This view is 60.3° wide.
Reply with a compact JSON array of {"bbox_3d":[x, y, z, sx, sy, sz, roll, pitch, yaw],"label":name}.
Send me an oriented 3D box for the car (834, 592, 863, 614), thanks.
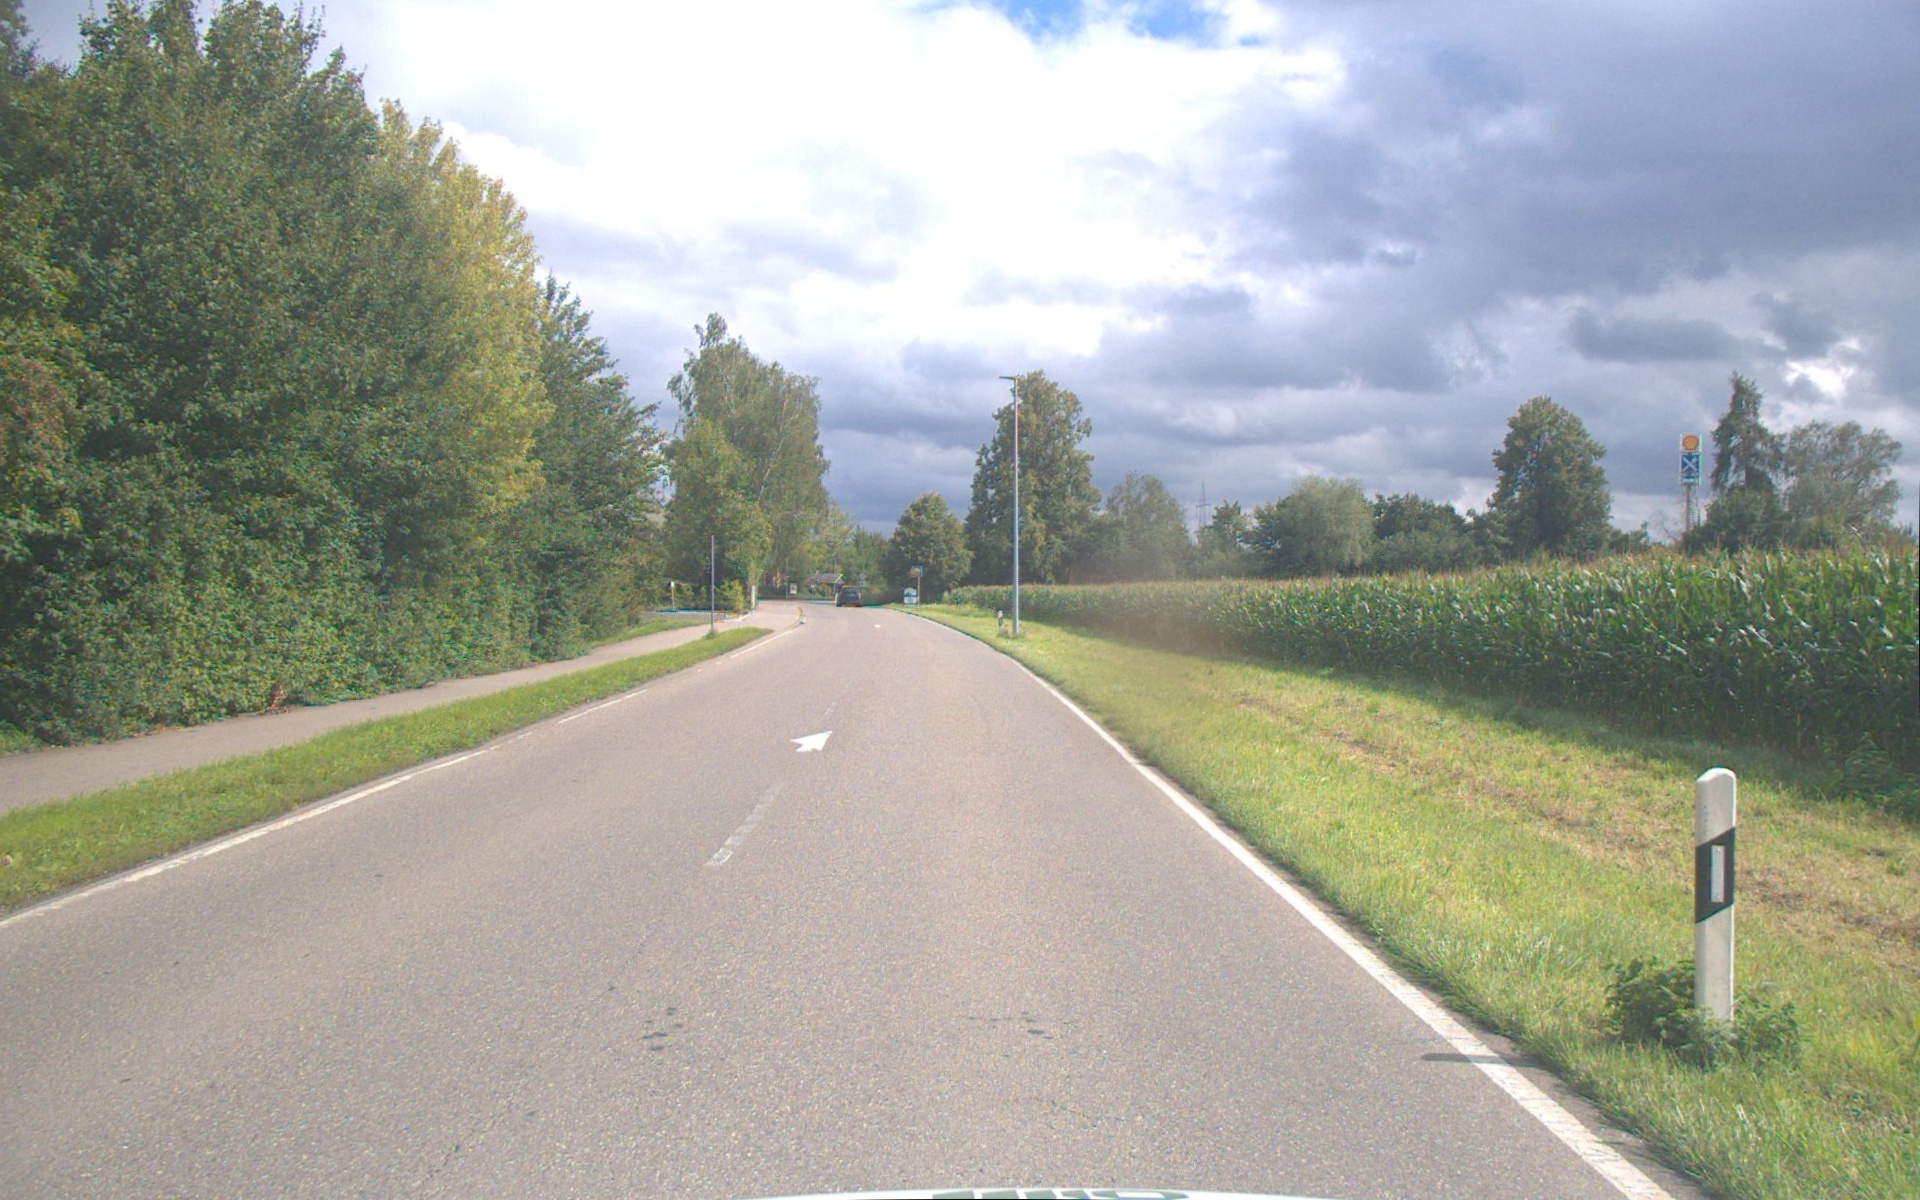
[{"bbox_3d":[-8.817,0.228,130.951,1.956,1.612,3.993,2,0,-8],"label":"car"}]
